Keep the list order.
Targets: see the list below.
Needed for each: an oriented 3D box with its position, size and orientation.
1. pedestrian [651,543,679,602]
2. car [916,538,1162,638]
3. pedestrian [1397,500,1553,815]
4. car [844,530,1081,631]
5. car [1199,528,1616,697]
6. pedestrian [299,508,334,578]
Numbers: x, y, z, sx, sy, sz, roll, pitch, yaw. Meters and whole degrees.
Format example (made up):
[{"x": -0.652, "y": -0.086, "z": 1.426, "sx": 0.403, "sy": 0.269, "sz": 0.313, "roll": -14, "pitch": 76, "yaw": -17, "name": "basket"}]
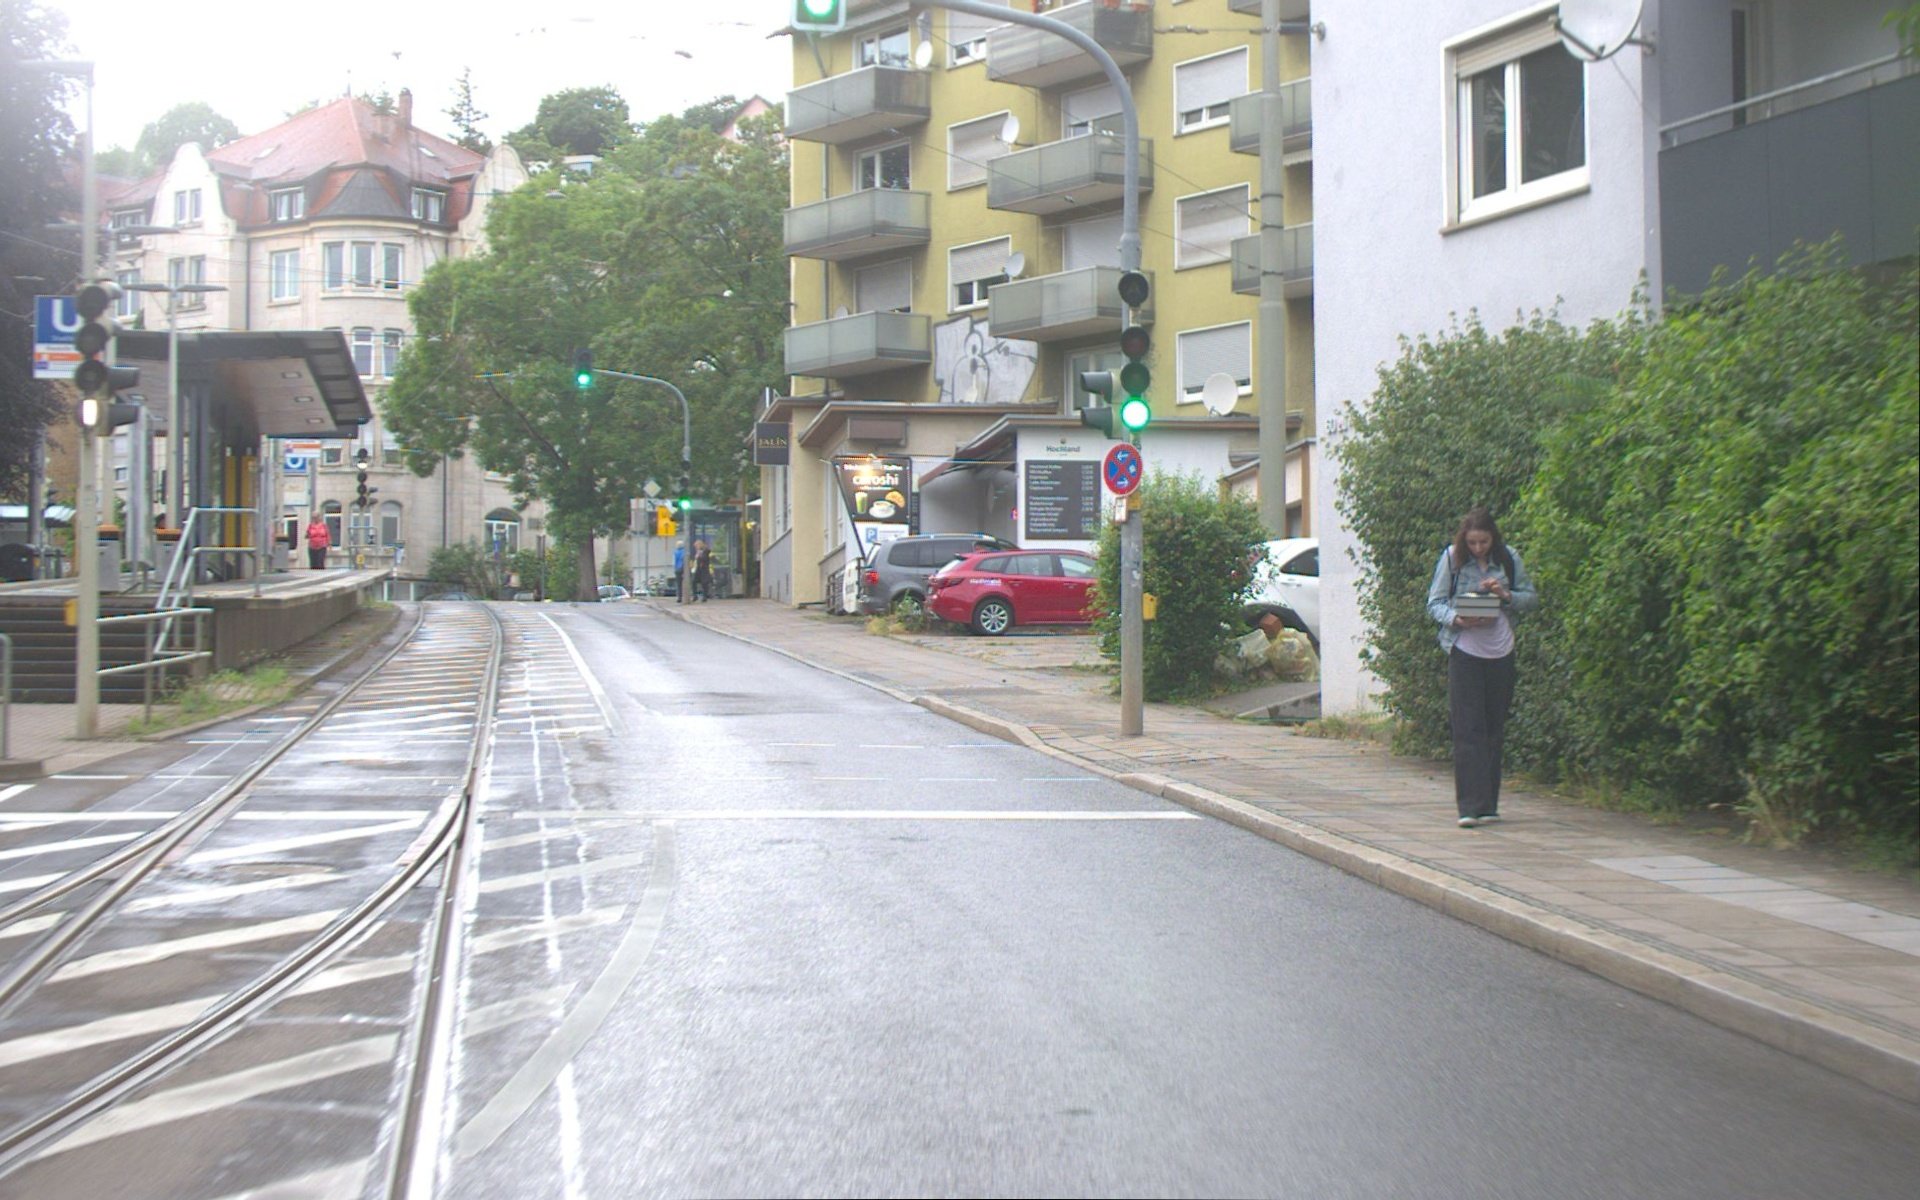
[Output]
[{"x": -7.470, "y": -0.692, "z": 87.086, "sx": 0.578, "sy": 1.462, "sz": 0.544, "roll": 2, "pitch": -4, "yaw": -15, "name": "pedestrian"}, {"x": 1.300, "y": -0.184, "z": 57.616, "sx": 3.841, "sy": 1.537, "sz": 1.808, "roll": 1, "pitch": -2, "yaw": -9, "name": "car"}, {"x": 2.713, "y": 0.306, "z": 18.154, "sx": 0.644, "sy": 1.623, "sz": 0.699, "roll": 1, "pitch": -1, "yaw": -6, "name": "pedestrian"}, {"x": 0.022, "y": -0.334, "z": 61.202, "sx": 3.986, "sy": 1.640, "sz": 1.808, "roll": 1, "pitch": -2, "yaw": -8, "name": "car"}, {"x": 4.677, "y": 0.158, "z": 36.198, "sx": 3.986, "sy": 1.640, "sz": 1.808, "roll": 1, "pitch": -2, "yaw": -9, "name": "car"}, {"x": -14.150, "y": -1.252, "z": 75.616, "sx": 0.657, "sy": 1.462, "sz": 0.772, "roll": 1, "pitch": -3, "yaw": -5, "name": "pedestrian"}]
